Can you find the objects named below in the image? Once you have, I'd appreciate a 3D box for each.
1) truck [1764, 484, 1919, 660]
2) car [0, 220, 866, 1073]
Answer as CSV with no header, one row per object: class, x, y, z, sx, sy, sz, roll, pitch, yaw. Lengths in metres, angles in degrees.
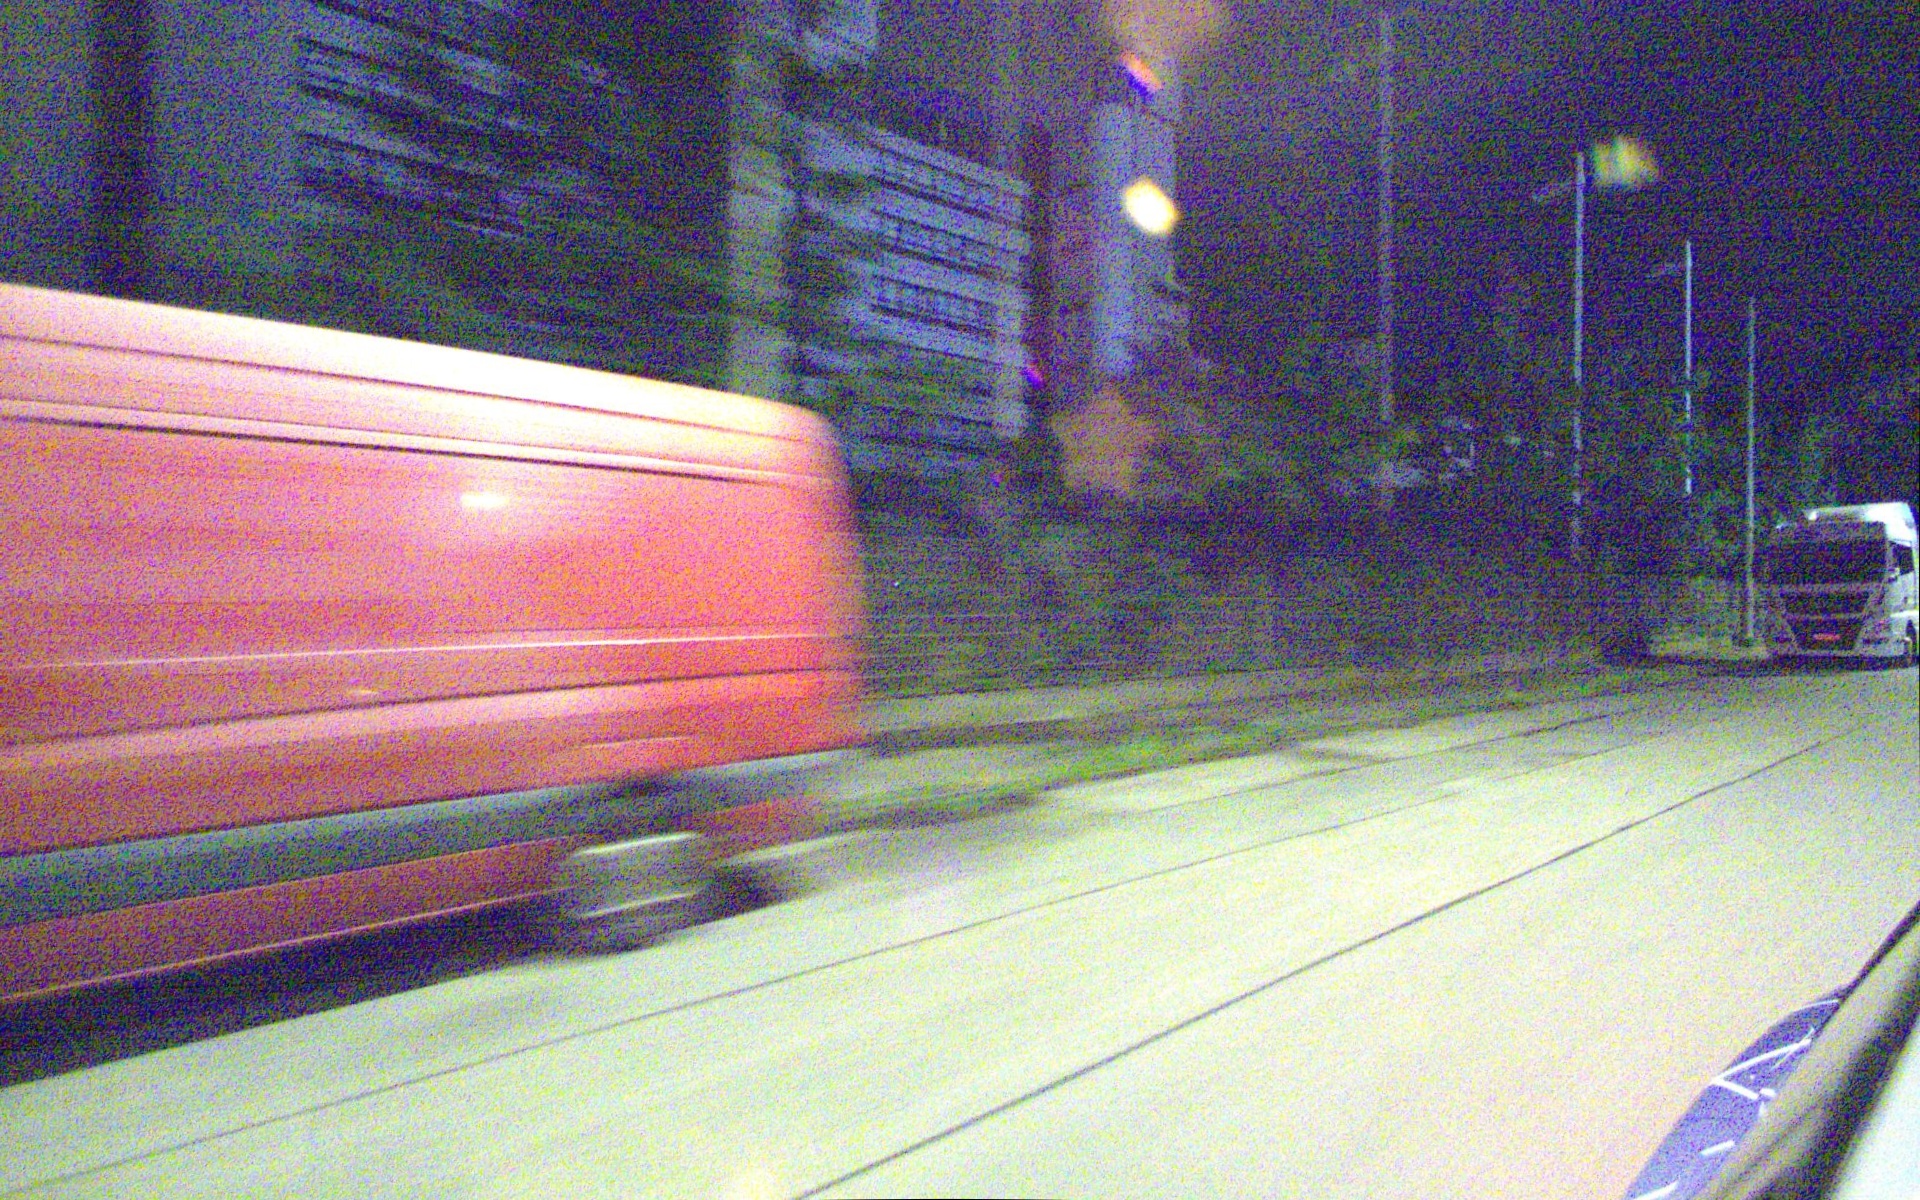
truck,25.287,-0.678,27.010,12.417,3.886,2.517,-1,0,-35
car,-3.360,0.140,3.994,5.921,2.580,1.996,-1,0,-42
